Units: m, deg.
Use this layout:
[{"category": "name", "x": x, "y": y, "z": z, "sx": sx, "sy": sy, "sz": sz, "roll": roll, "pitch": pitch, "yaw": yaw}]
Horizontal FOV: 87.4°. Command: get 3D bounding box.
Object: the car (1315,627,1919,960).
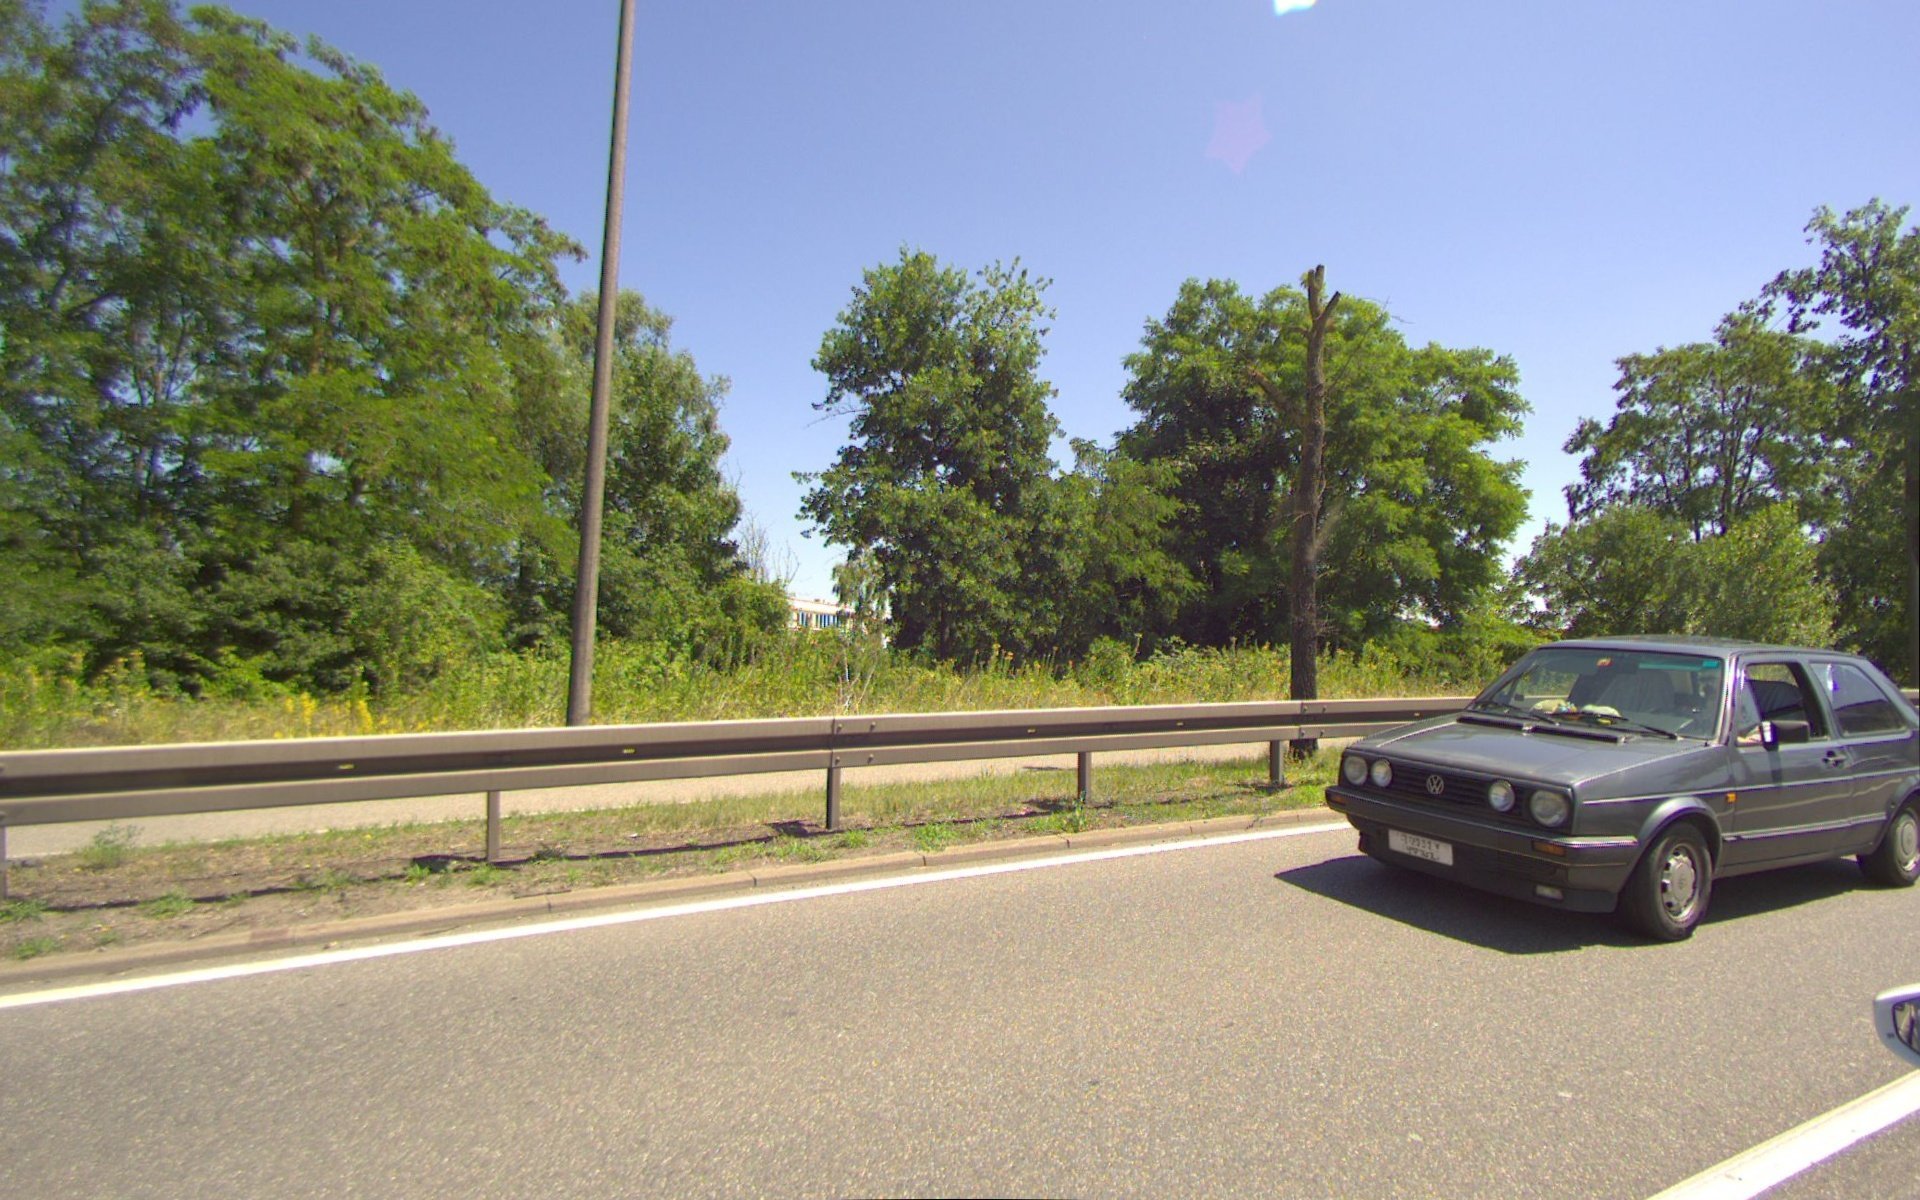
[{"category": "car", "x": 4.083, "y": 0.901, "z": 5.903, "sx": 3.839, "sy": 1.390, "sz": 1.551, "roll": 2, "pitch": 0, "yaw": -27}]
